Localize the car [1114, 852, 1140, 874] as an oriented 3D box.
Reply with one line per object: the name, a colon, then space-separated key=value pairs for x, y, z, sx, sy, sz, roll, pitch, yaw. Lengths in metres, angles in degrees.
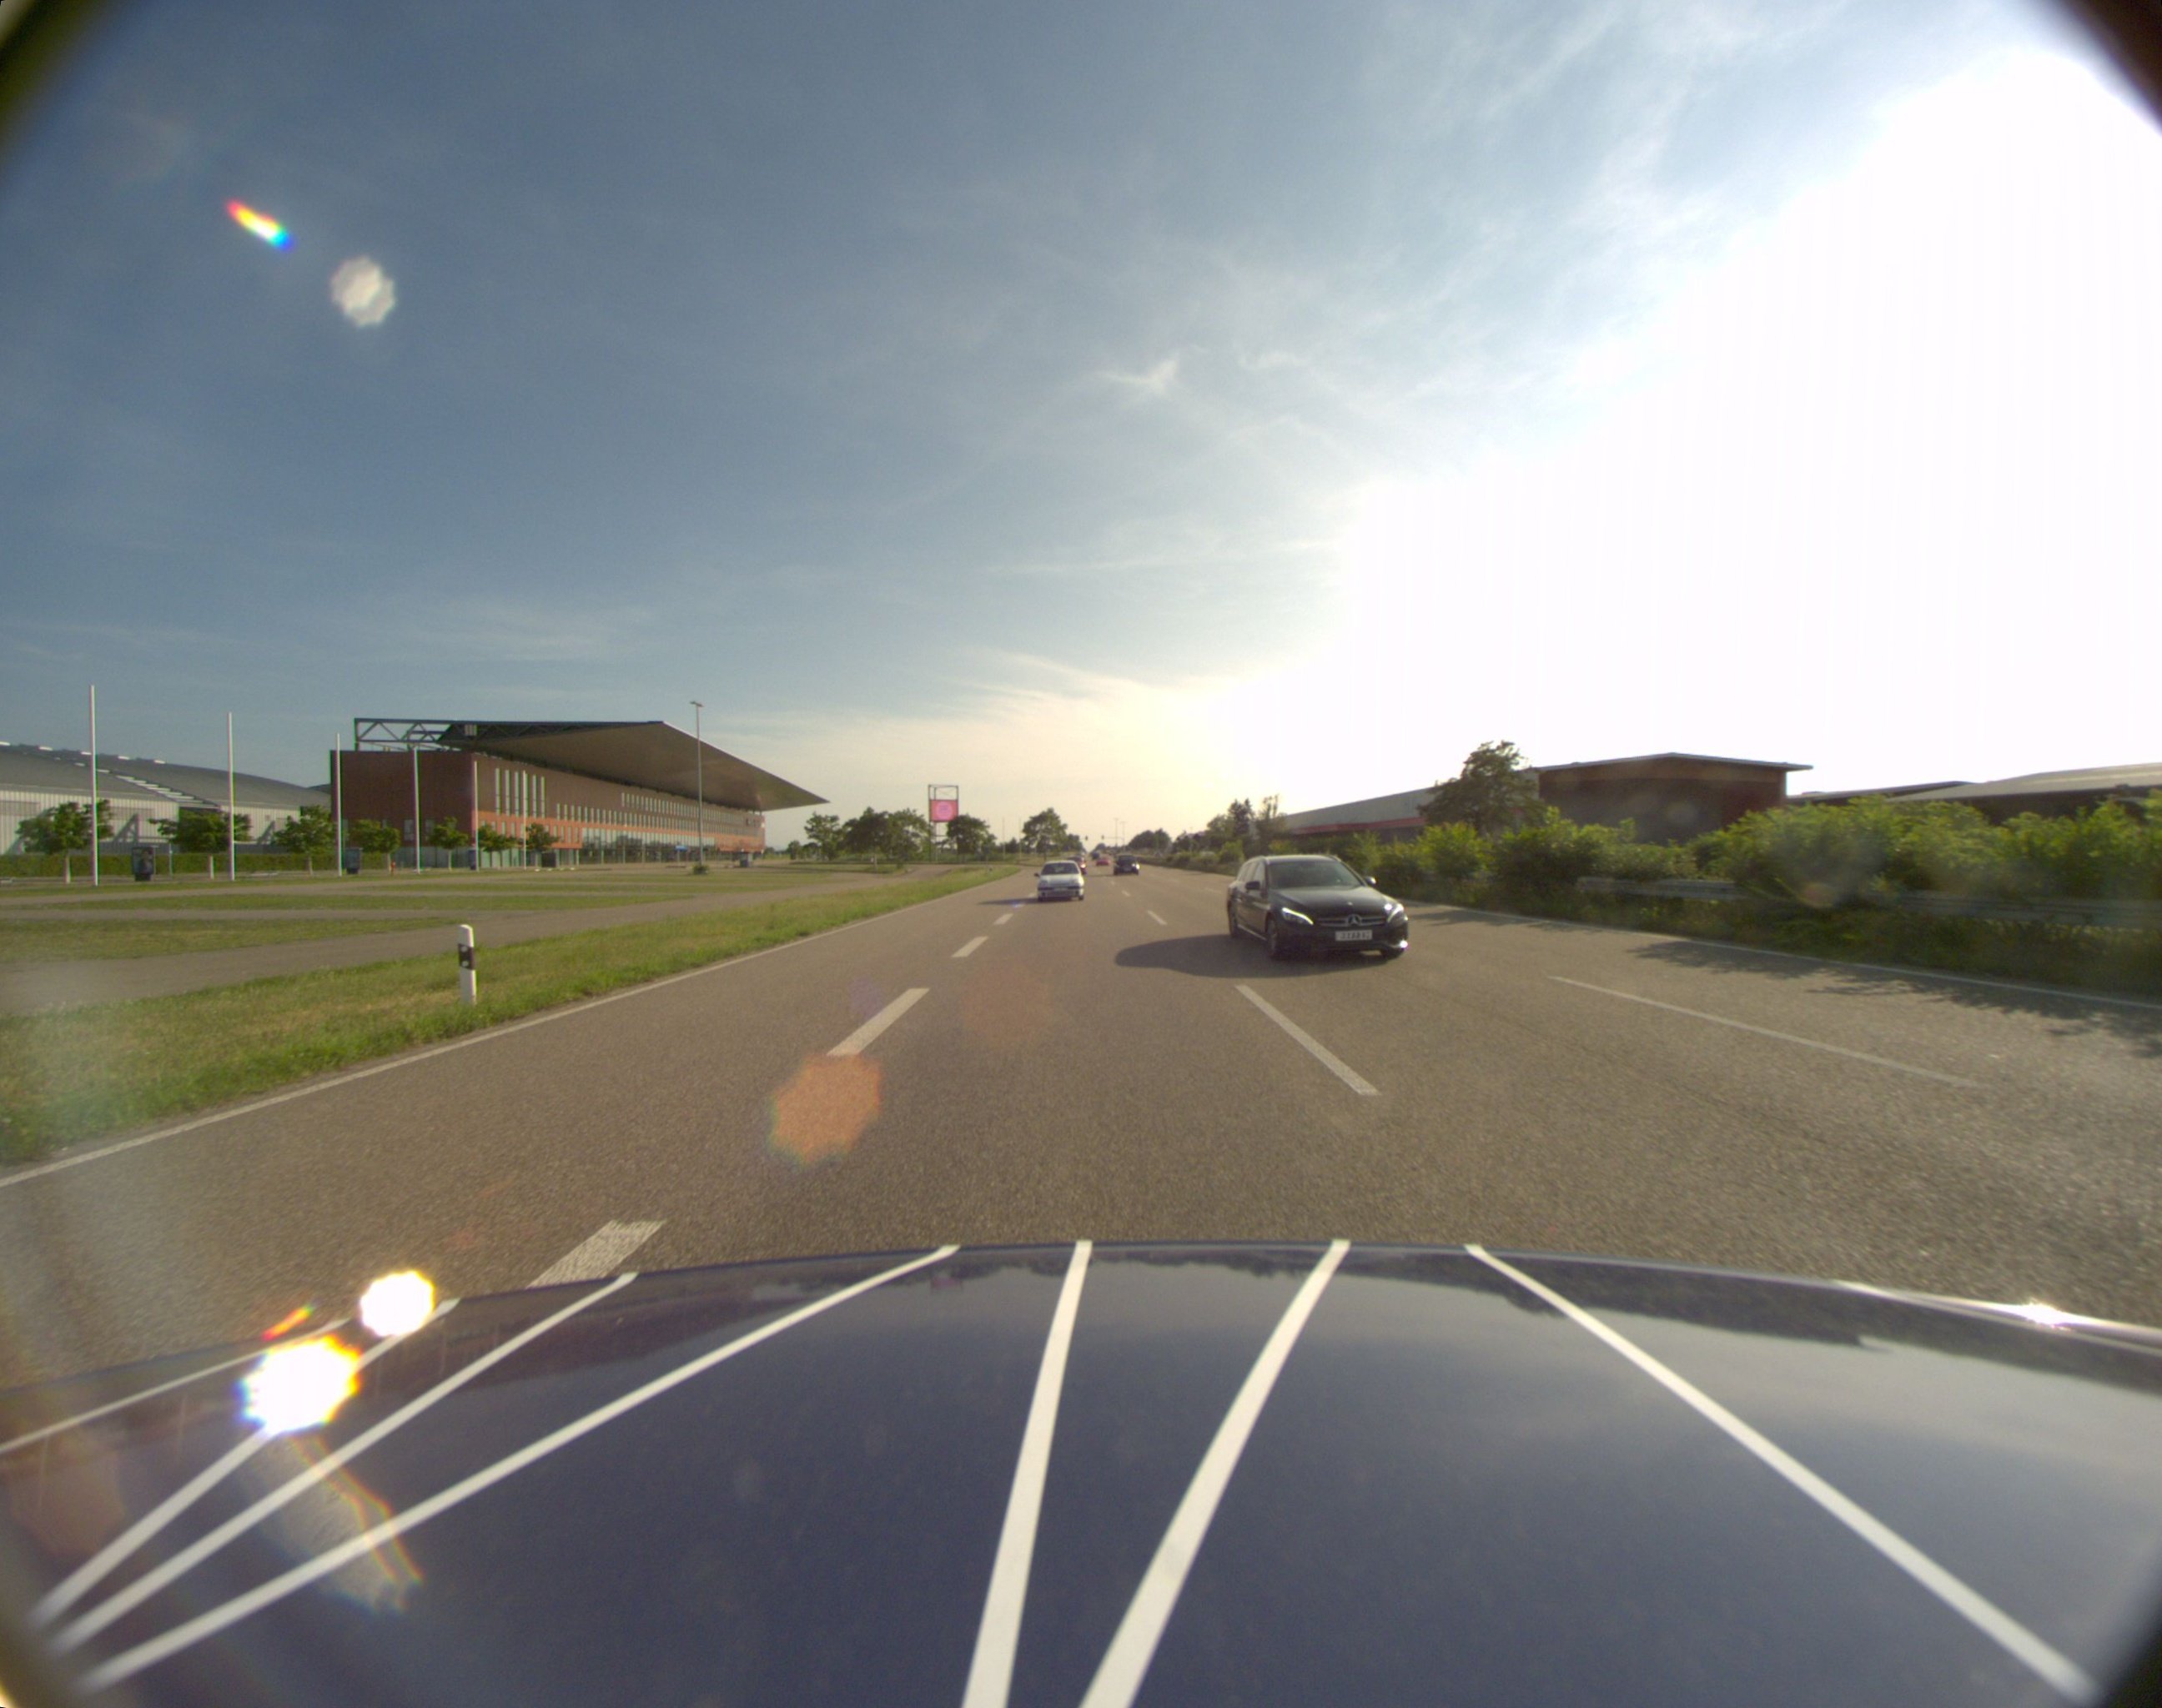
car: x=3.452 y=0.660 z=57.306 sx=1.758 sy=1.499 sz=3.422 roll=-1 pitch=0 yaw=0

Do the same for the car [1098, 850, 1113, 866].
car: x=3.165 y=0.494 z=99.444 sx=1.799 sy=1.926 sz=4.000 roll=-1 pitch=1 yaw=0

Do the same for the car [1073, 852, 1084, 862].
car: x=-0.358 y=0.421 z=118.447 sx=1.751 sy=1.512 sz=3.739 roll=-1 pitch=0 yaw=0

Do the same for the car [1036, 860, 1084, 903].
car: x=-0.704 y=0.952 z=27.597 sx=1.578 sy=1.371 sz=3.451 roll=-1 pitch=0 yaw=0

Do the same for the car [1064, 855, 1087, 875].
car: x=-0.397 y=0.835 z=61.885 sx=1.751 sy=1.512 sz=3.739 roll=-1 pitch=0 yaw=0

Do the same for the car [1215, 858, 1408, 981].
car: x=3.331 y=0.832 z=12.025 sx=1.576 sy=1.462 sz=5.022 roll=-1 pitch=0 yaw=1

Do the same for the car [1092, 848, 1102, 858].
car: x=3.244 y=-0.262 z=154.553 sx=1.998 sy=2.002 sz=4.000 roll=-1 pitch=1 yaw=0

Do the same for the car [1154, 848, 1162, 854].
car: x=19.643 y=-0.775 z=193.374 sx=1.784 sy=1.416 sz=4.000 roll=0 pitch=1 yaw=1
